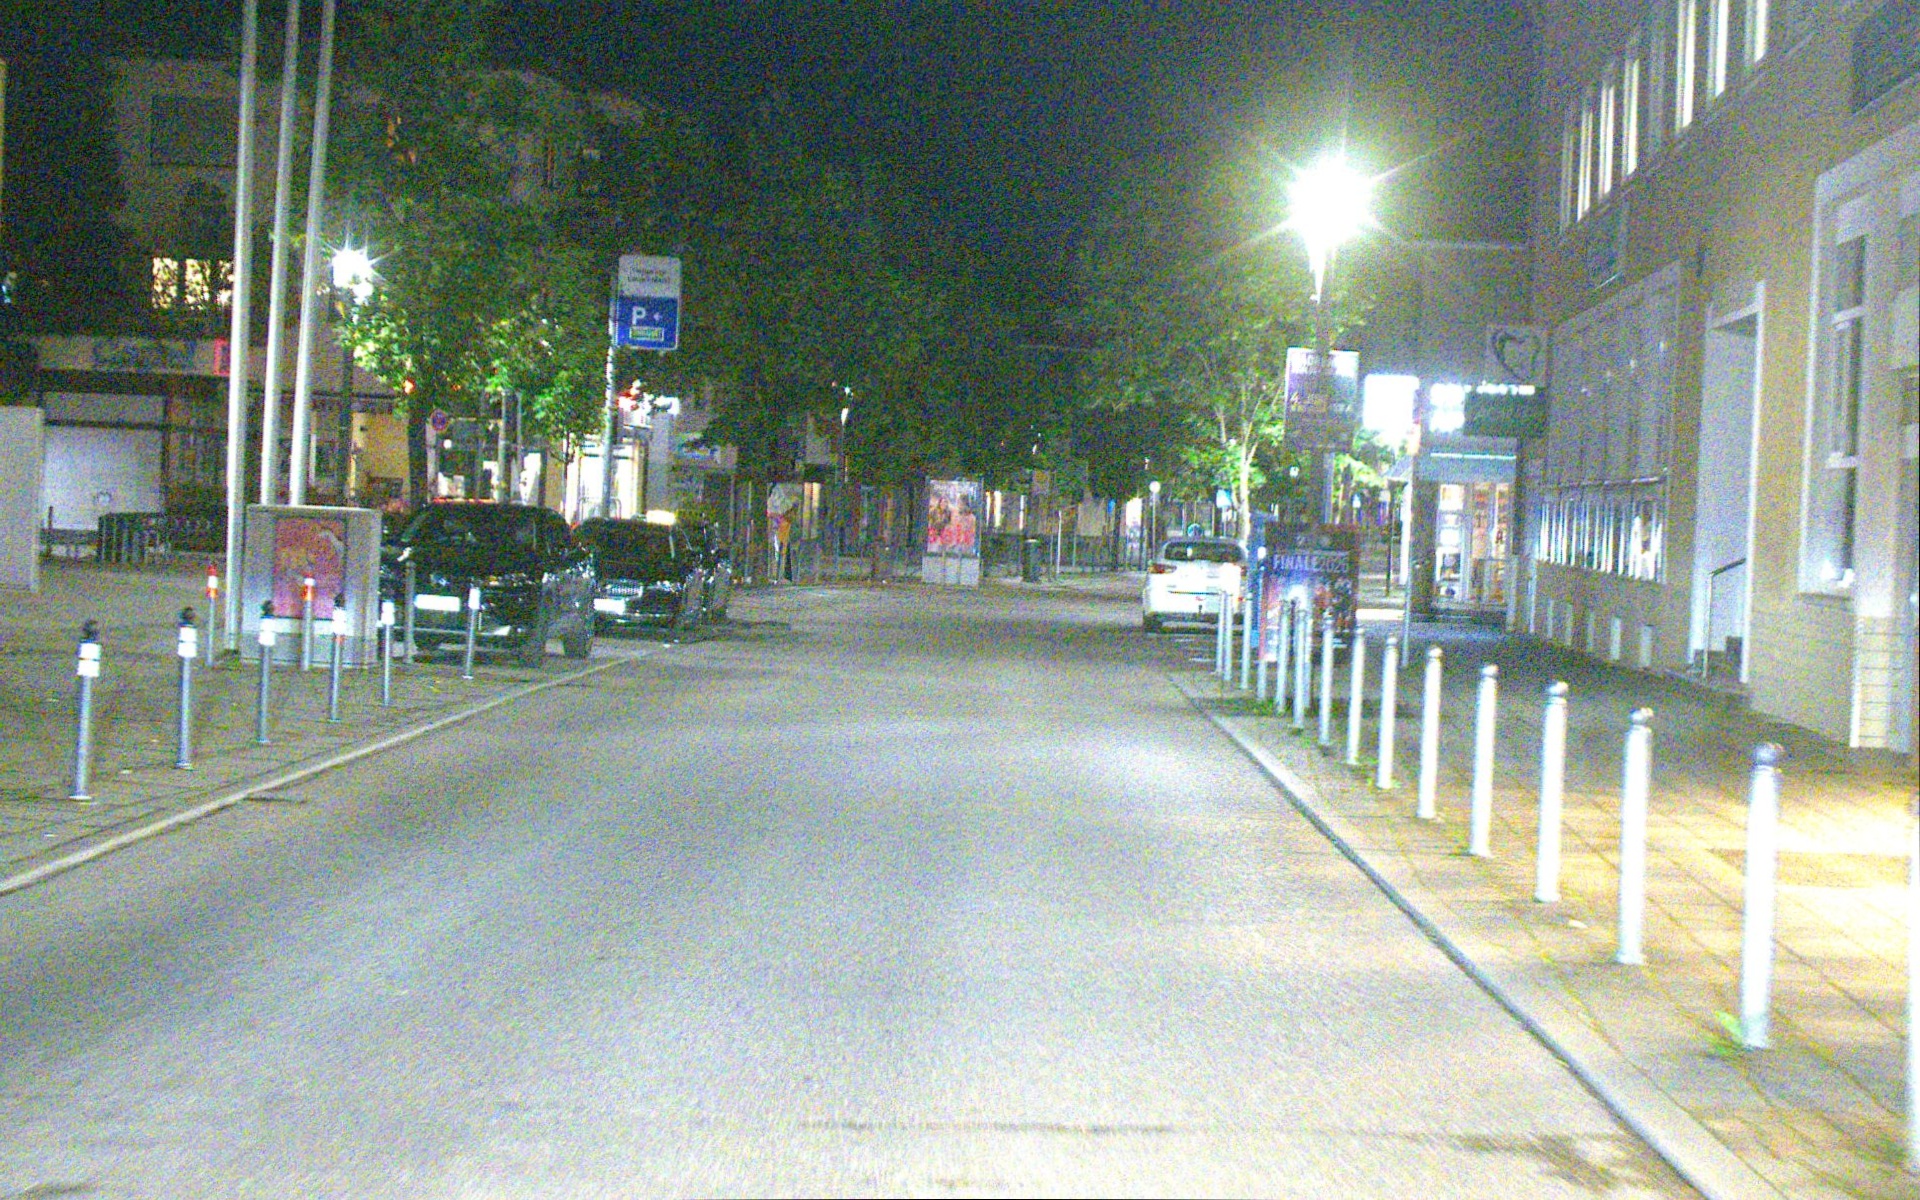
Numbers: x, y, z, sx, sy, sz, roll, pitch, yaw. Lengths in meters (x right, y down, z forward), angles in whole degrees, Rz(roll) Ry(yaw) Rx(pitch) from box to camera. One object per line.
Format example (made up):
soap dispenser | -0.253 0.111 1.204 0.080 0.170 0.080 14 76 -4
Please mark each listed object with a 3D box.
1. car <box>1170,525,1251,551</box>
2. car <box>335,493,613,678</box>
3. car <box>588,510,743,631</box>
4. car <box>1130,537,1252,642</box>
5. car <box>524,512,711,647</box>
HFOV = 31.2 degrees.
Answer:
car | 13.929 -3.446 190.917 4.170 1.433 1.839 0 1 16
car | -4.643 -0.164 33.473 1.771 1.568 4.482 4 1 3
car | -4.276 -0.469 50.488 1.759 1.631 4.815 2 1 1
car | 3.565 -0.158 52.988 1.742 1.482 4.635 2 0 4
car | -4.311 -0.301 43.936 1.905 1.536 4.782 3 1 -1
